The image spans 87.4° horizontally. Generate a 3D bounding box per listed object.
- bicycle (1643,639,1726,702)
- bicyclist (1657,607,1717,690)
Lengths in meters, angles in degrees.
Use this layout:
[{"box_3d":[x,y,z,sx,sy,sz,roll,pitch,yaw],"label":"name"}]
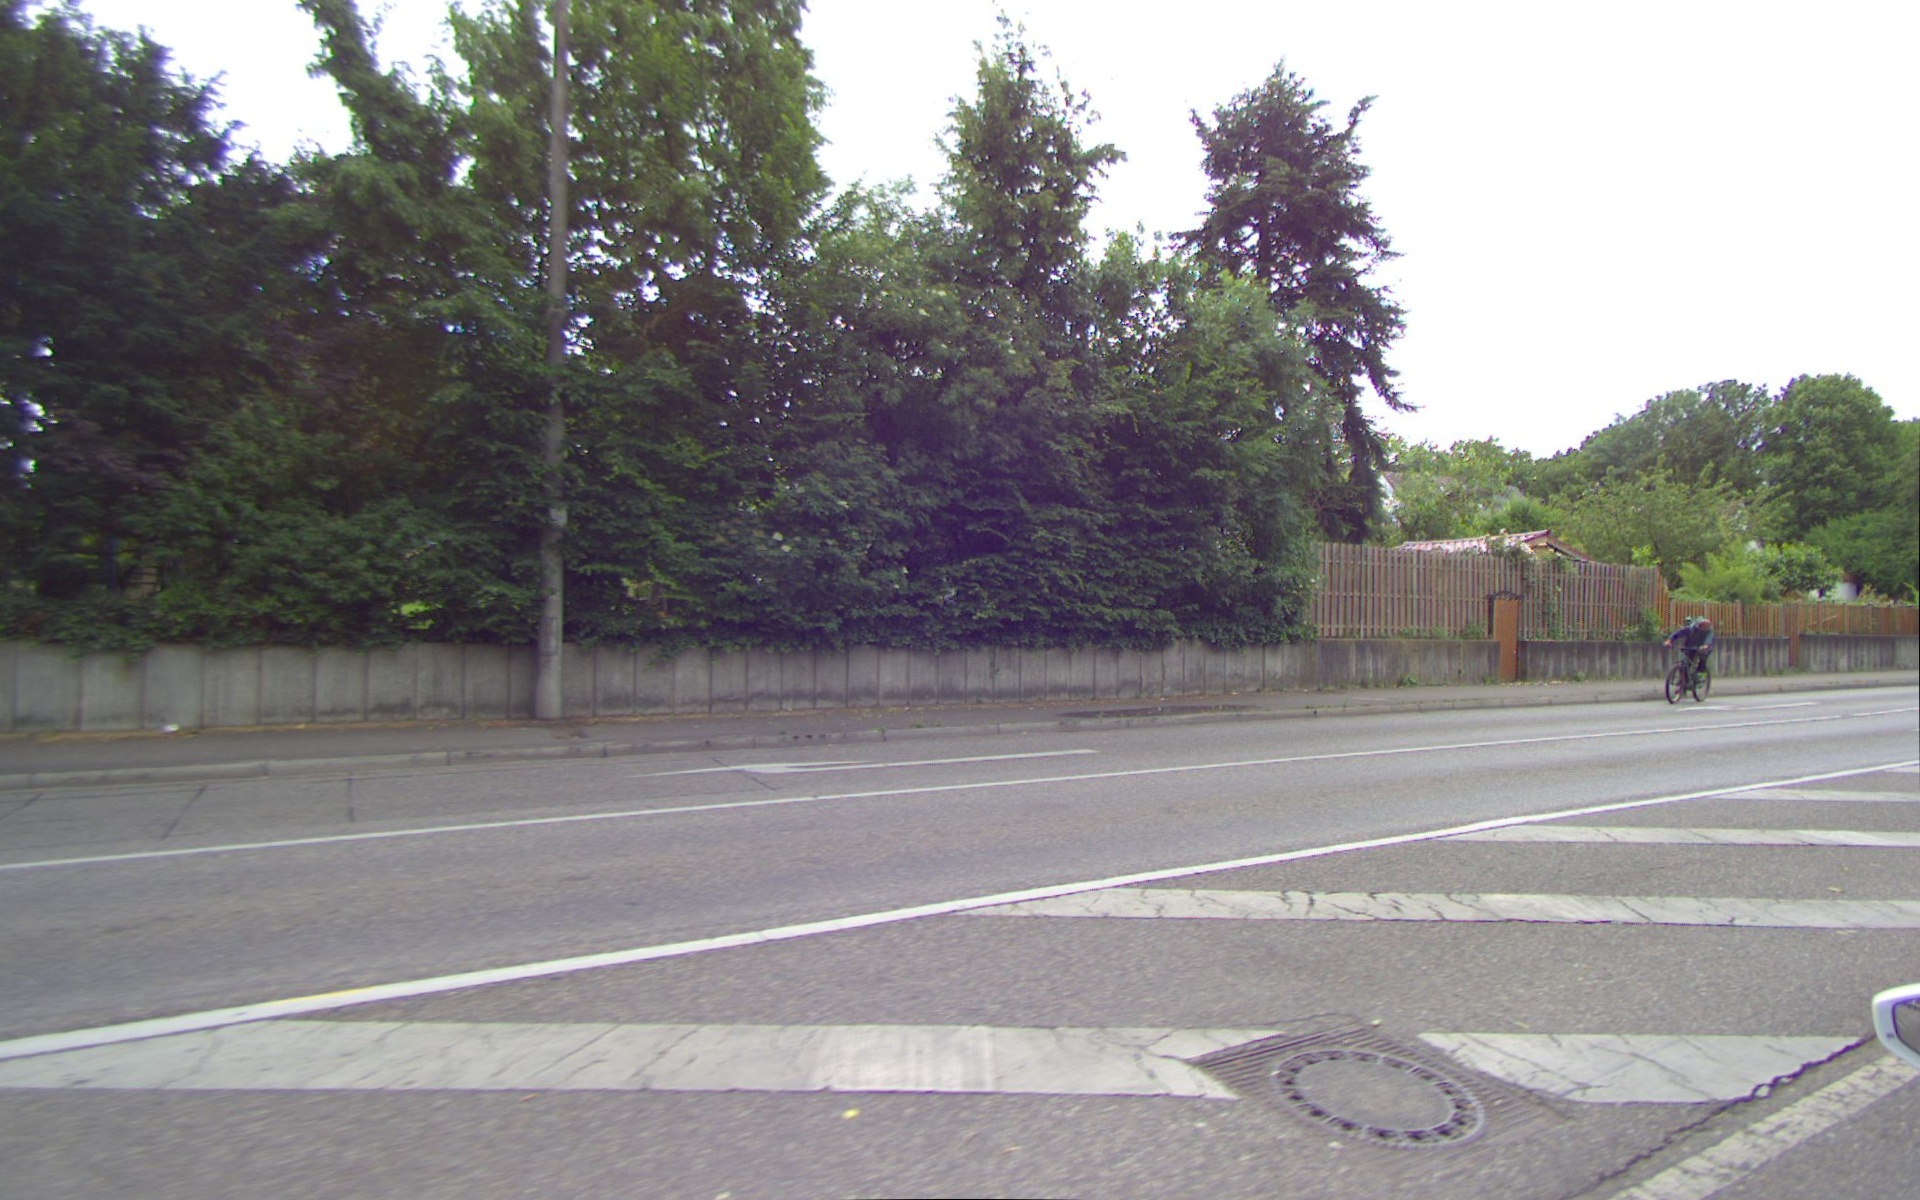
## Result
[{"box_3d":[14.324,1.367,19.837,2.126,1.160,0.638,1,1,-35],"label":"bicycle"},{"box_3d":[14.268,0.939,19.705,0.968,1.555,0.638,1,1,-34],"label":"bicyclist"}]
